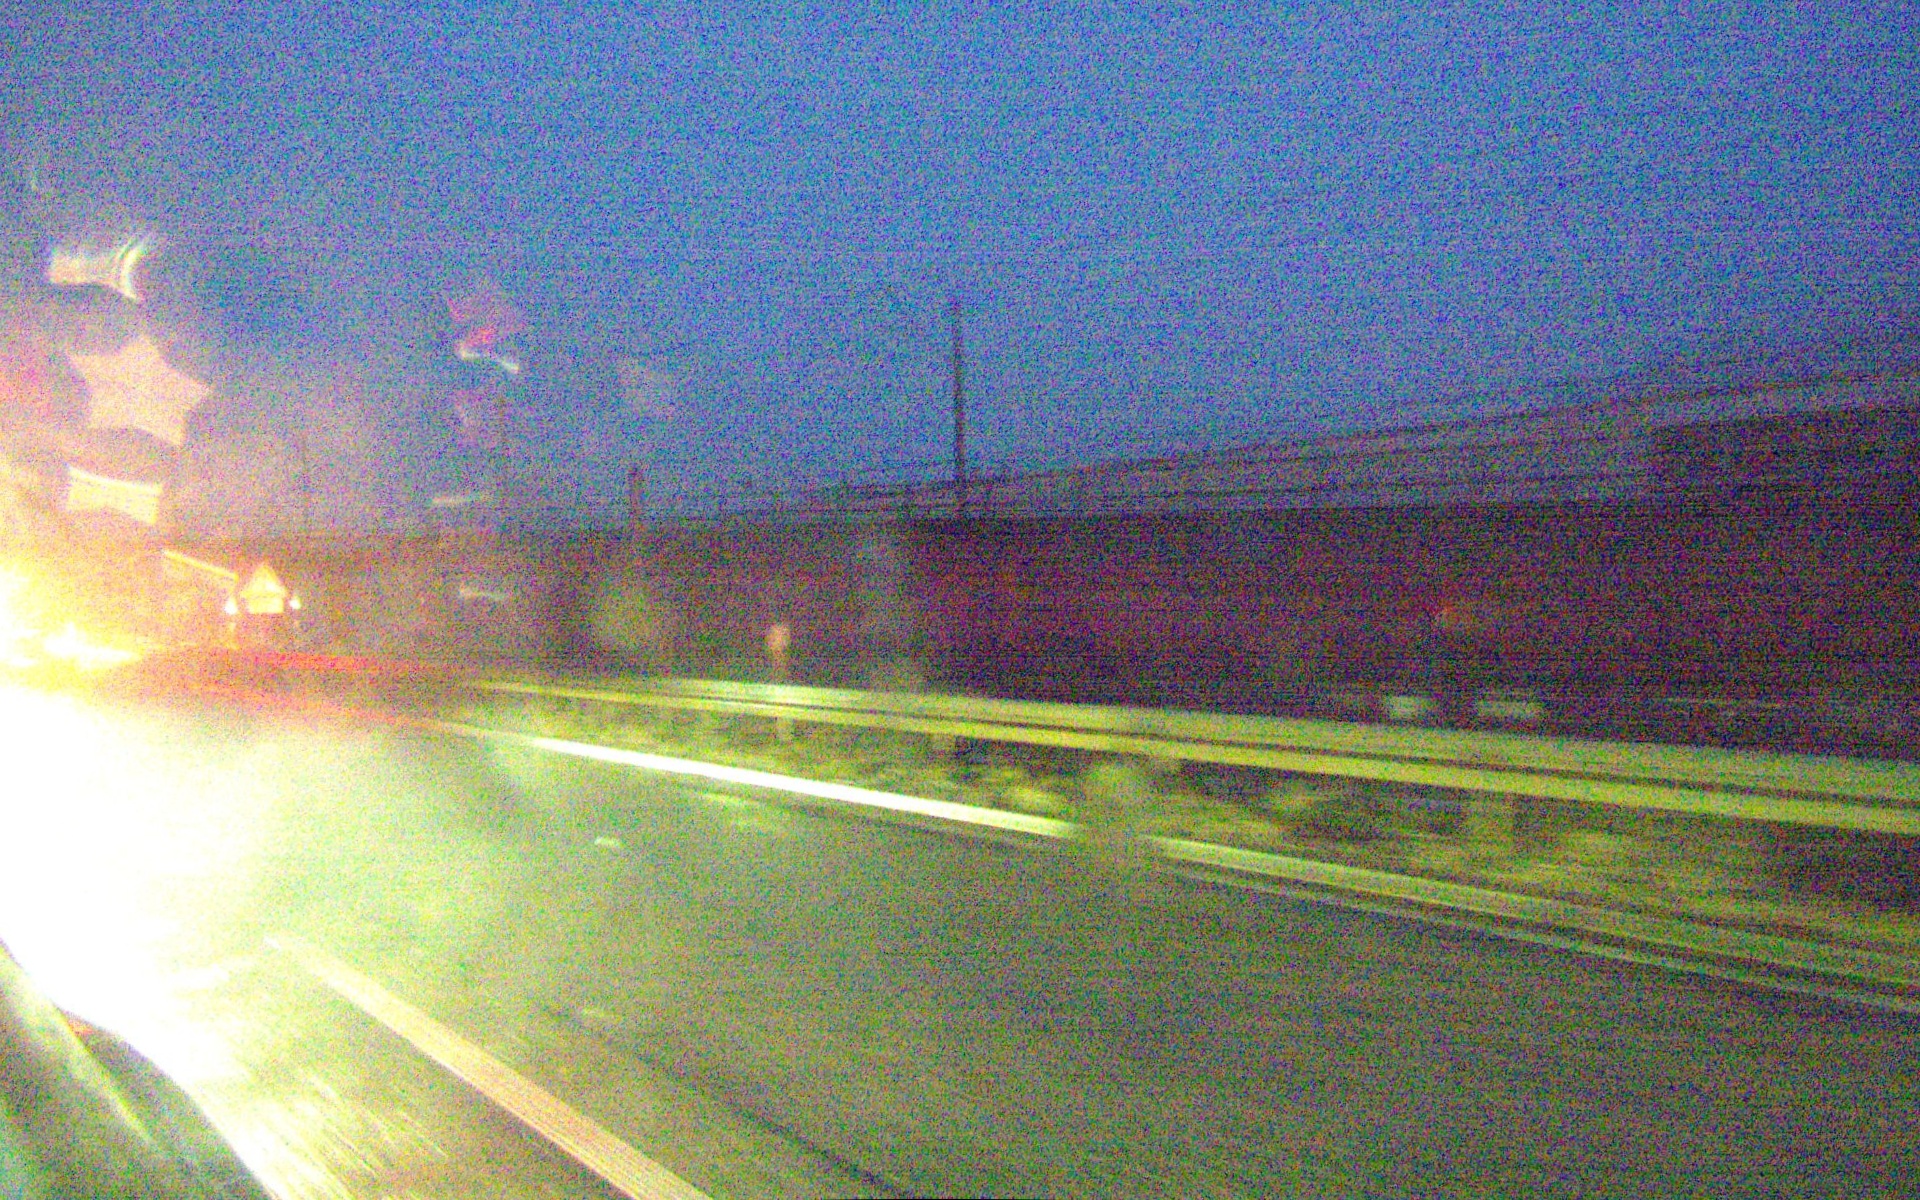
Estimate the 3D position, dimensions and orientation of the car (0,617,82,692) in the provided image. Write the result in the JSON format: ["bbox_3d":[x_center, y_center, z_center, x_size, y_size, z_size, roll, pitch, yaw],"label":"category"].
[{"bbox_3d":[-21.180,1.169,22.493,4.272,1.481,1.884,-1,1,41],"label":"car"}]
